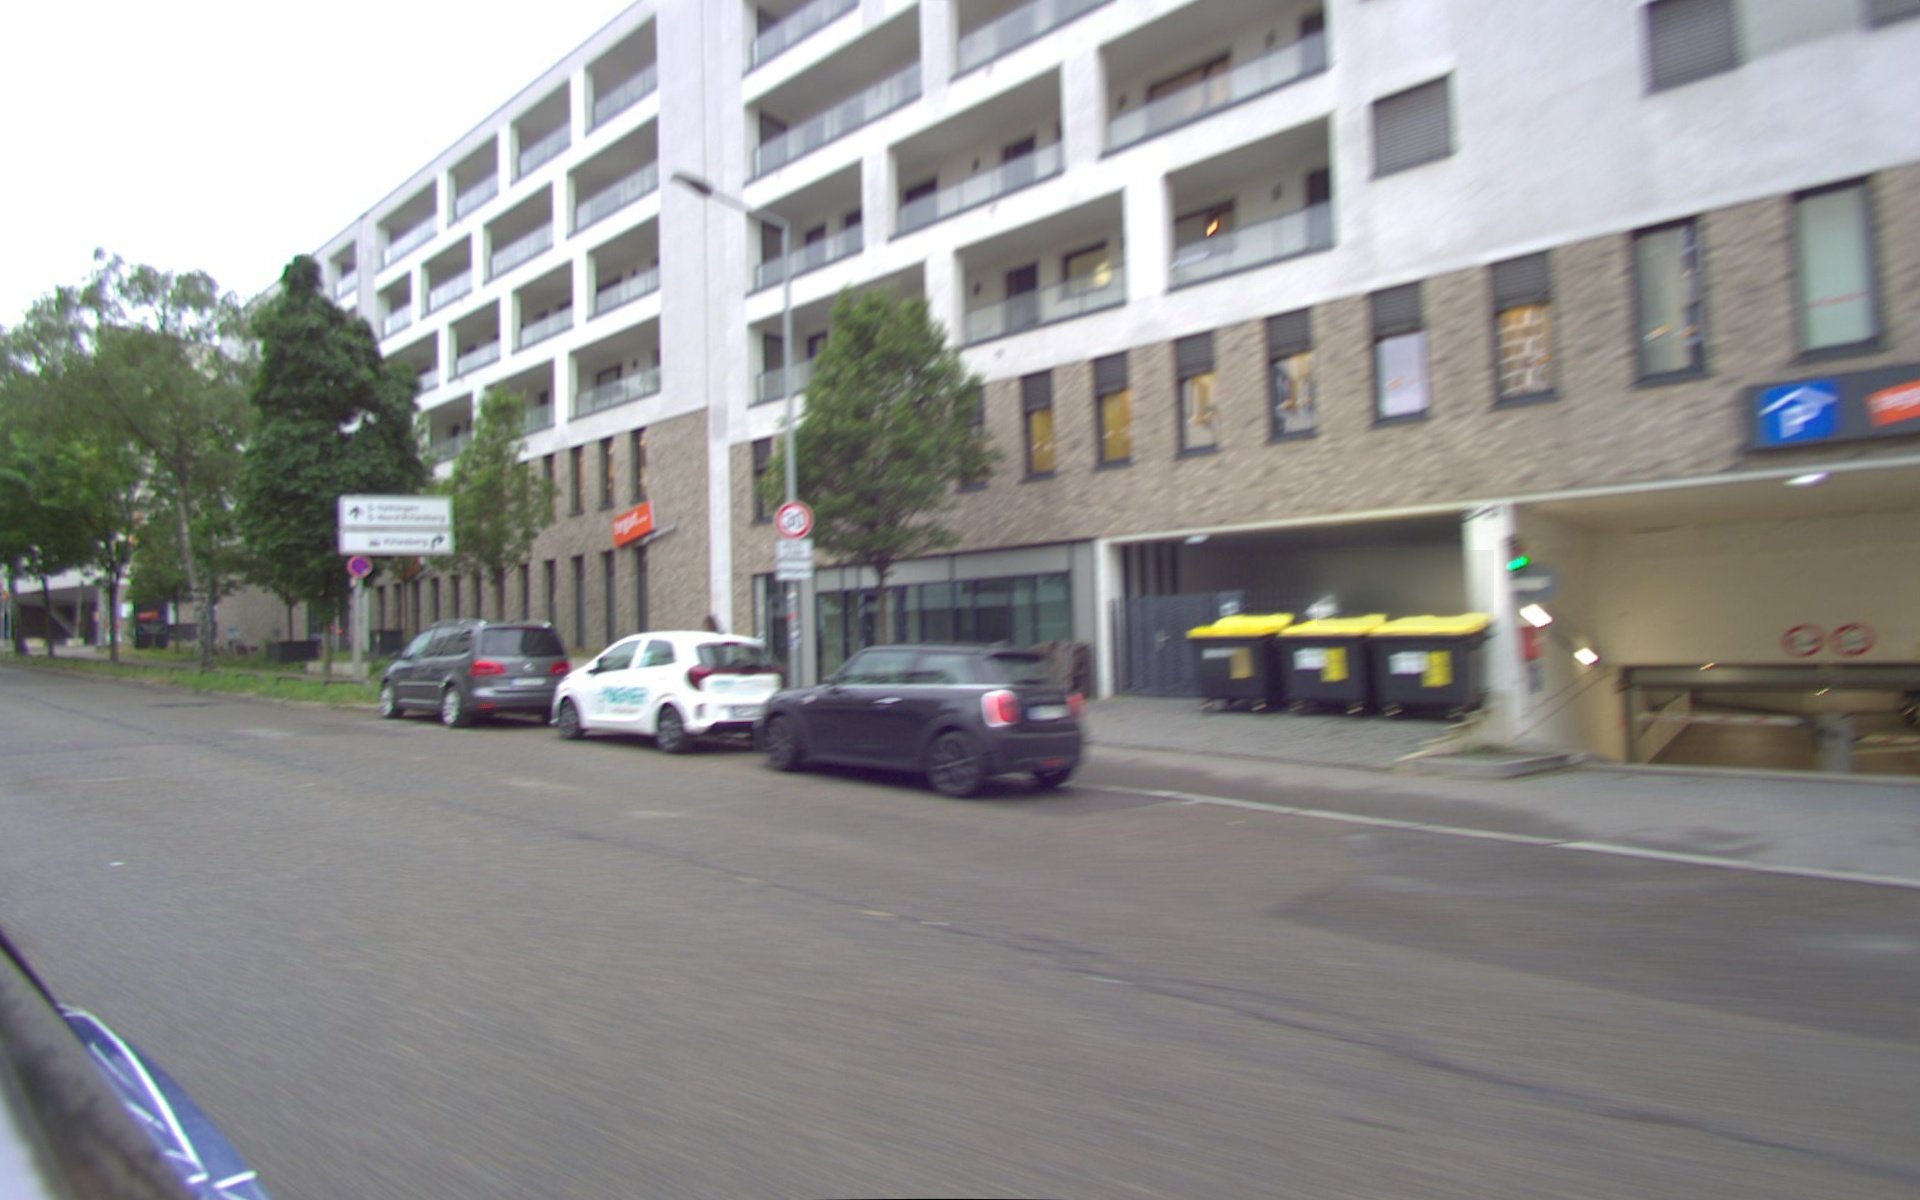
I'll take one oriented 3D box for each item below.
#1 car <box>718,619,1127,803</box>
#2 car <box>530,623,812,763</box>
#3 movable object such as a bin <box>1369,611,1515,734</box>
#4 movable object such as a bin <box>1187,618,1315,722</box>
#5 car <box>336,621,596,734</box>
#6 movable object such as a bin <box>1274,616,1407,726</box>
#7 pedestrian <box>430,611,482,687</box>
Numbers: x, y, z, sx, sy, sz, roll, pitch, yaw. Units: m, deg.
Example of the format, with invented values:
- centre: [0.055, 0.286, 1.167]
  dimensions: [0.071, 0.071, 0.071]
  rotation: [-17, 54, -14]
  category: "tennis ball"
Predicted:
- centre: [-0.539, 0.976, 10.606]
  dimensions: [4.243, 1.528, 1.778]
  rotation: [-1, -1, 41]
  category: "car"
- centre: [-3.997, 1.141, 13.681]
  dimensions: [4.029, 1.613, 1.755]
  rotation: [-2, -2, 40]
  category: "car"
- centre: [6.547, 0.954, 13.715]
  dimensions: [1.479, 1.522, 1.779]
  rotation: [-1, -4, 36]
  category: "movable object such as a bin"
- centre: [4.537, 1.028, 15.679]
  dimensions: [1.287, 1.440, 2.009]
  rotation: [-1, 0, 36]
  category: "movable object such as a bin"
- centre: [-8.288, 1.222, 16.820]
  dimensions: [4.679, 1.621, 2.057]
  rotation: [-2, -3, 38]
  category: "car"
- centre: [5.579, 0.974, 14.753]
  dimensions: [1.314, 1.434, 2.036]
  rotation: [-1, -1, 36]
  category: "movable object such as a bin"
- centre: [-11.557, 1.105, 23.199]
  dimensions: [0.954, 1.696, 0.702]
  rotation: [-2, -2, 35]
  category: "pedestrian"
